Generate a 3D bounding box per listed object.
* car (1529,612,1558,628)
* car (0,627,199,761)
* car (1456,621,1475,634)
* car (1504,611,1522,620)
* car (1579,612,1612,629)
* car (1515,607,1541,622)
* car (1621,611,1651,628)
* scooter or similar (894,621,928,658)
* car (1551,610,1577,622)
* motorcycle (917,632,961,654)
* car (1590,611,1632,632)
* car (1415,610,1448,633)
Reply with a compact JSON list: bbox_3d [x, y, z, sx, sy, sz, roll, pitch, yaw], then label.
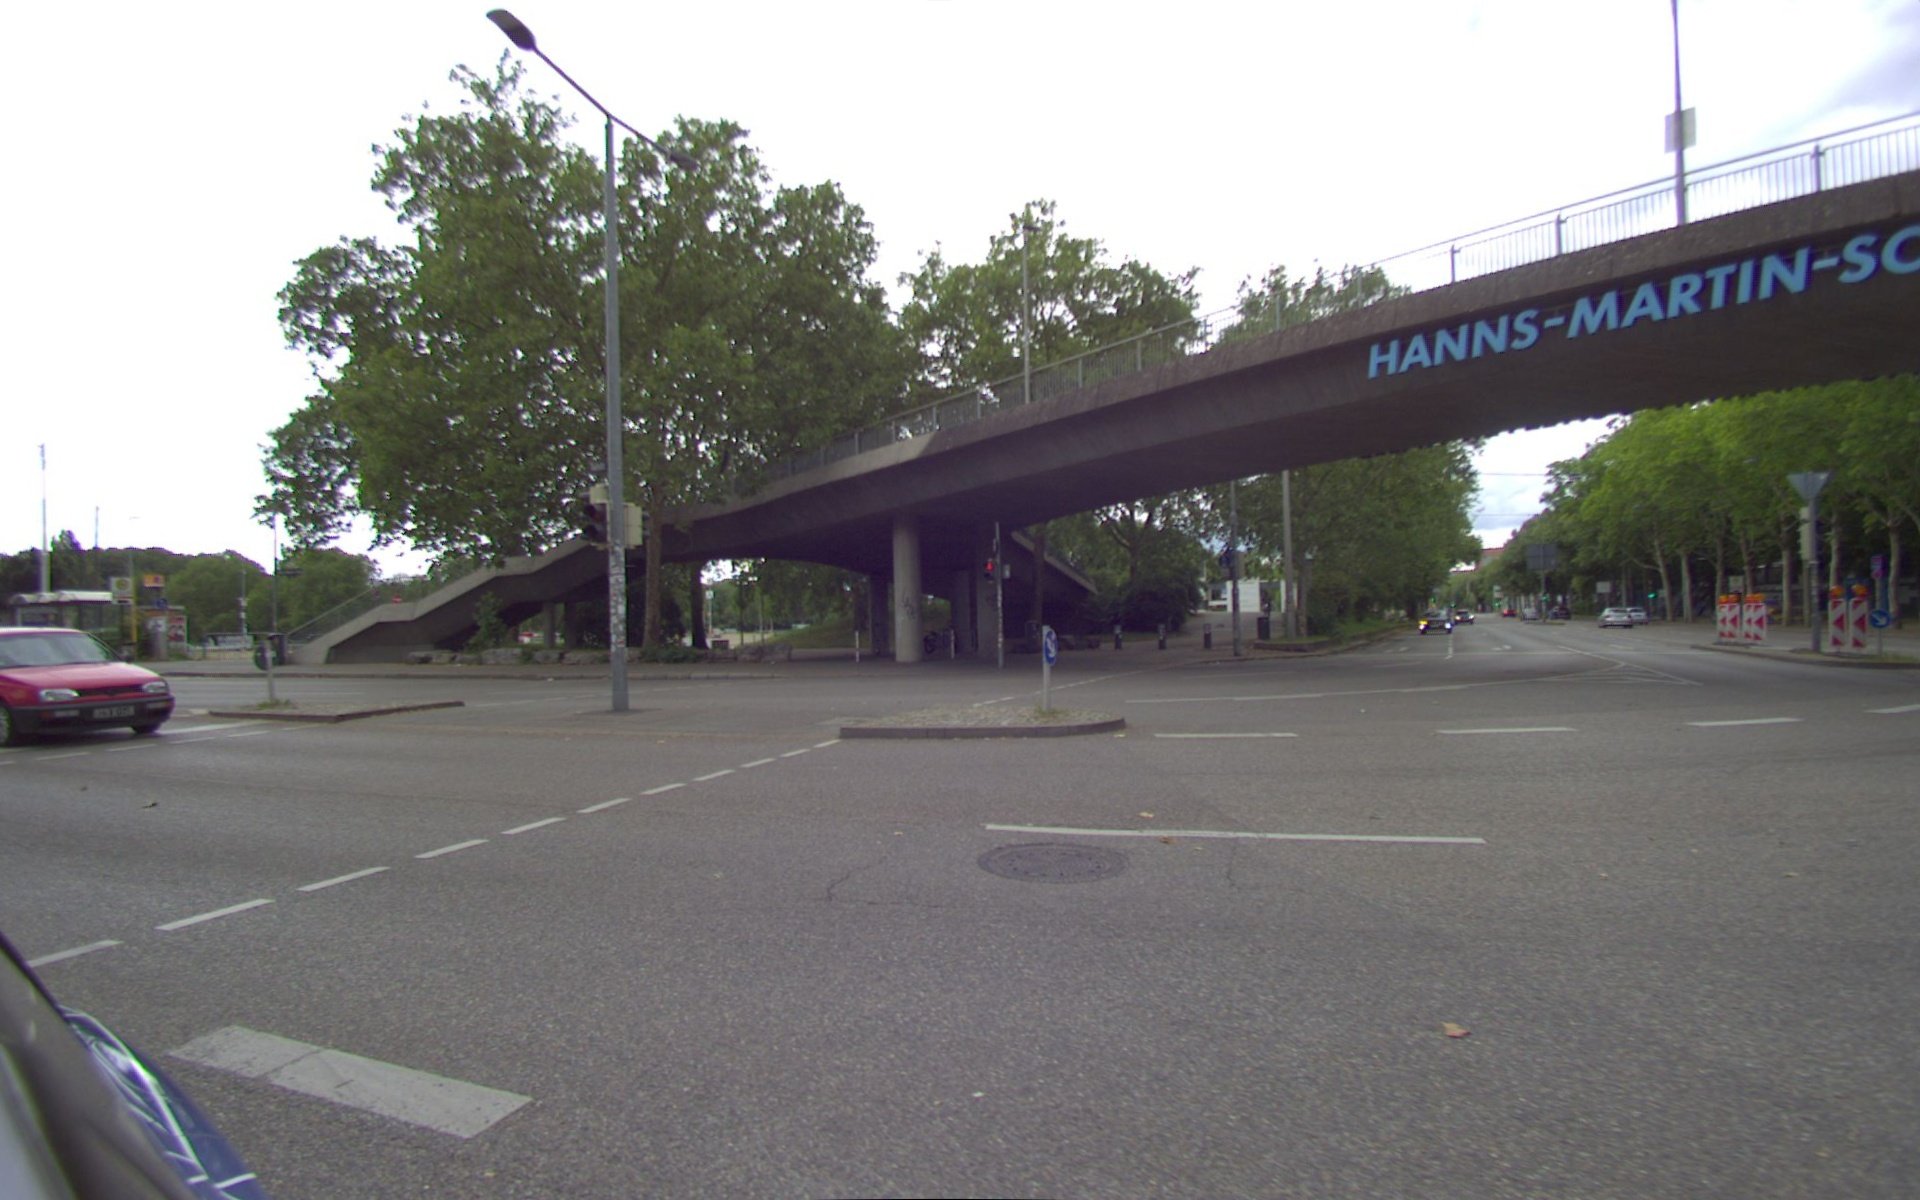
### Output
[{"bbox_3d":[53.917,1.849,93.535,1.989,1.429,3.966,-1,-1,25],"label":"car"},{"bbox_3d":[-12.090,1.133,13.134,4.051,1.462,1.820,-1,0,24],"label":"car"},{"bbox_3d":[56.148,3.041,112.379,1.754,1.374,3.684,-1,1,26],"label":"car"},{"bbox_3d":[91.309,2.563,167.150,1.836,1.435,3.975,-2,-1,18],"label":"car"},{"bbox_3d":[56.784,1.809,90.539,1.989,1.429,3.966,-1,-1,25],"label":"car"},{"bbox_3d":[68.045,1.760,121.345,1.984,1.672,3.975,-1,-1,19],"label":"car"},{"bbox_3d":[58.343,1.688,87.369,1.607,1.323,3.366,-1,-1,25],"label":"car"},{"bbox_3d":[-1.838,1.487,38.074,1.220,1.328,0.414,1,-1,25],"label":"scooter or similar"},{"bbox_3d":[74.484,1.965,124.863,1.836,1.435,3.975,-2,-1,18],"label":"car"},{"bbox_3d":[-0.850,1.749,40.921,1.731,0.858,0.643,-2,-2,31],"label":"motorcycle"},{"bbox_3d":[46.685,1.538,72.621,1.989,1.429,3.965,-1,-1,26],"label":"car"},{"bbox_3d":[30.037,1.365,64.473,1.755,1.331,3.683,-1,1,27],"label":"car"}]
